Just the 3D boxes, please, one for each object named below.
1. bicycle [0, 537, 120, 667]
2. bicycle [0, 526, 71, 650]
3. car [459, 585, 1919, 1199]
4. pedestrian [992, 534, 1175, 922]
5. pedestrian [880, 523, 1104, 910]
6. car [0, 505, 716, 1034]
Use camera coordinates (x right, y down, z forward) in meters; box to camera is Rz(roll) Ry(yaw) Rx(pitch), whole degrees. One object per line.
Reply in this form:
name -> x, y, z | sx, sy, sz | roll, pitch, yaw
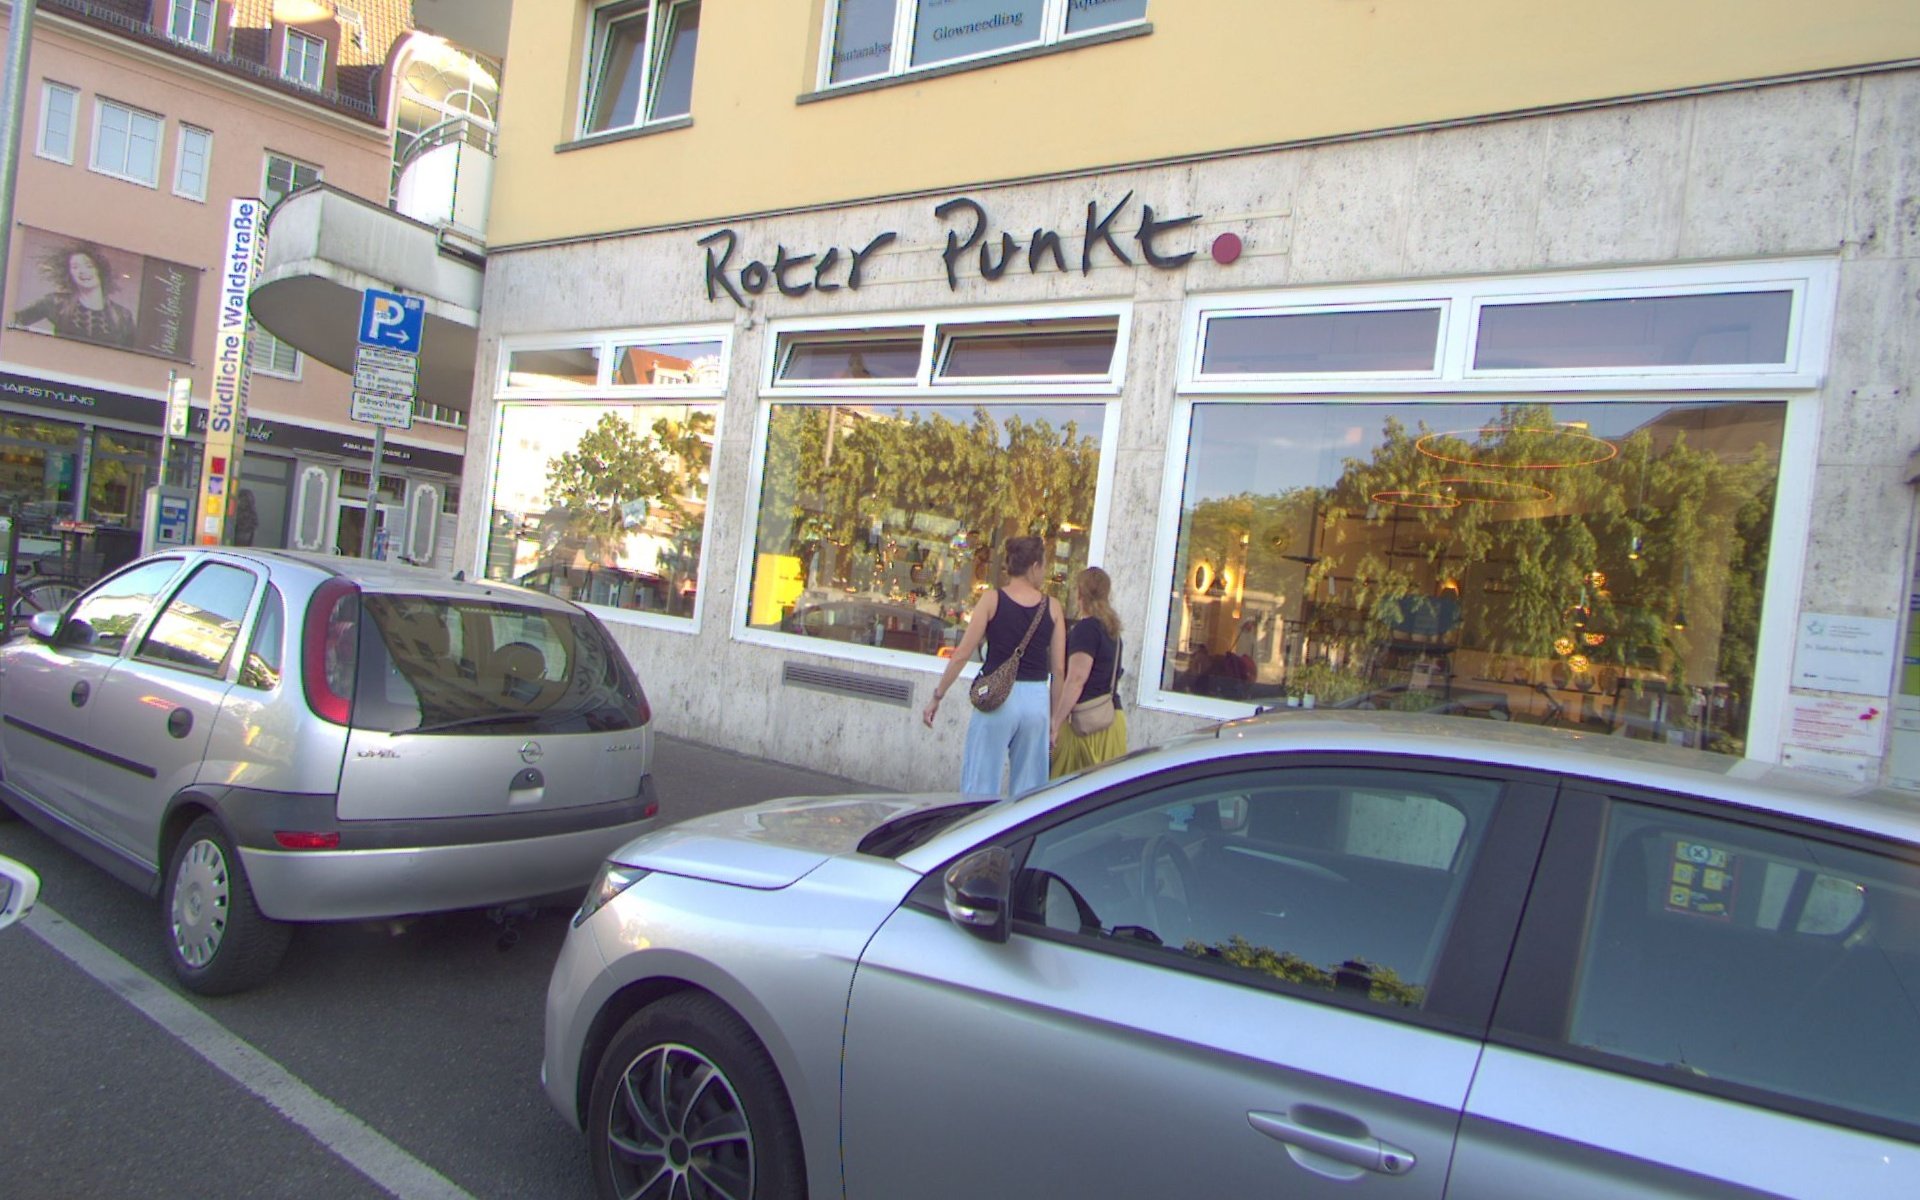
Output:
bicycle -> -8.117, -0.003, 8.199 | 0.348, 1.051, 1.871 | 6, 1, 38
bicycle -> -9.105, -0.151, 8.816 | 0.408, 1.101, 1.872 | 6, 1, 35
car -> 0.759, 0.920, 2.268 | 3.598, 1.444, 1.550 | 6, -1, 30
pedestrian -> 0.662, 0.626, 5.218 | 0.557, 1.805, 0.743 | 7, 0, 22
pedestrian -> 0.137, 0.534, 4.783 | 0.651, 1.685, 0.643 | 7, 0, -26
car -> -2.928, 0.453, 4.446 | 3.420, 1.407, 1.548 | 6, -1, 33
